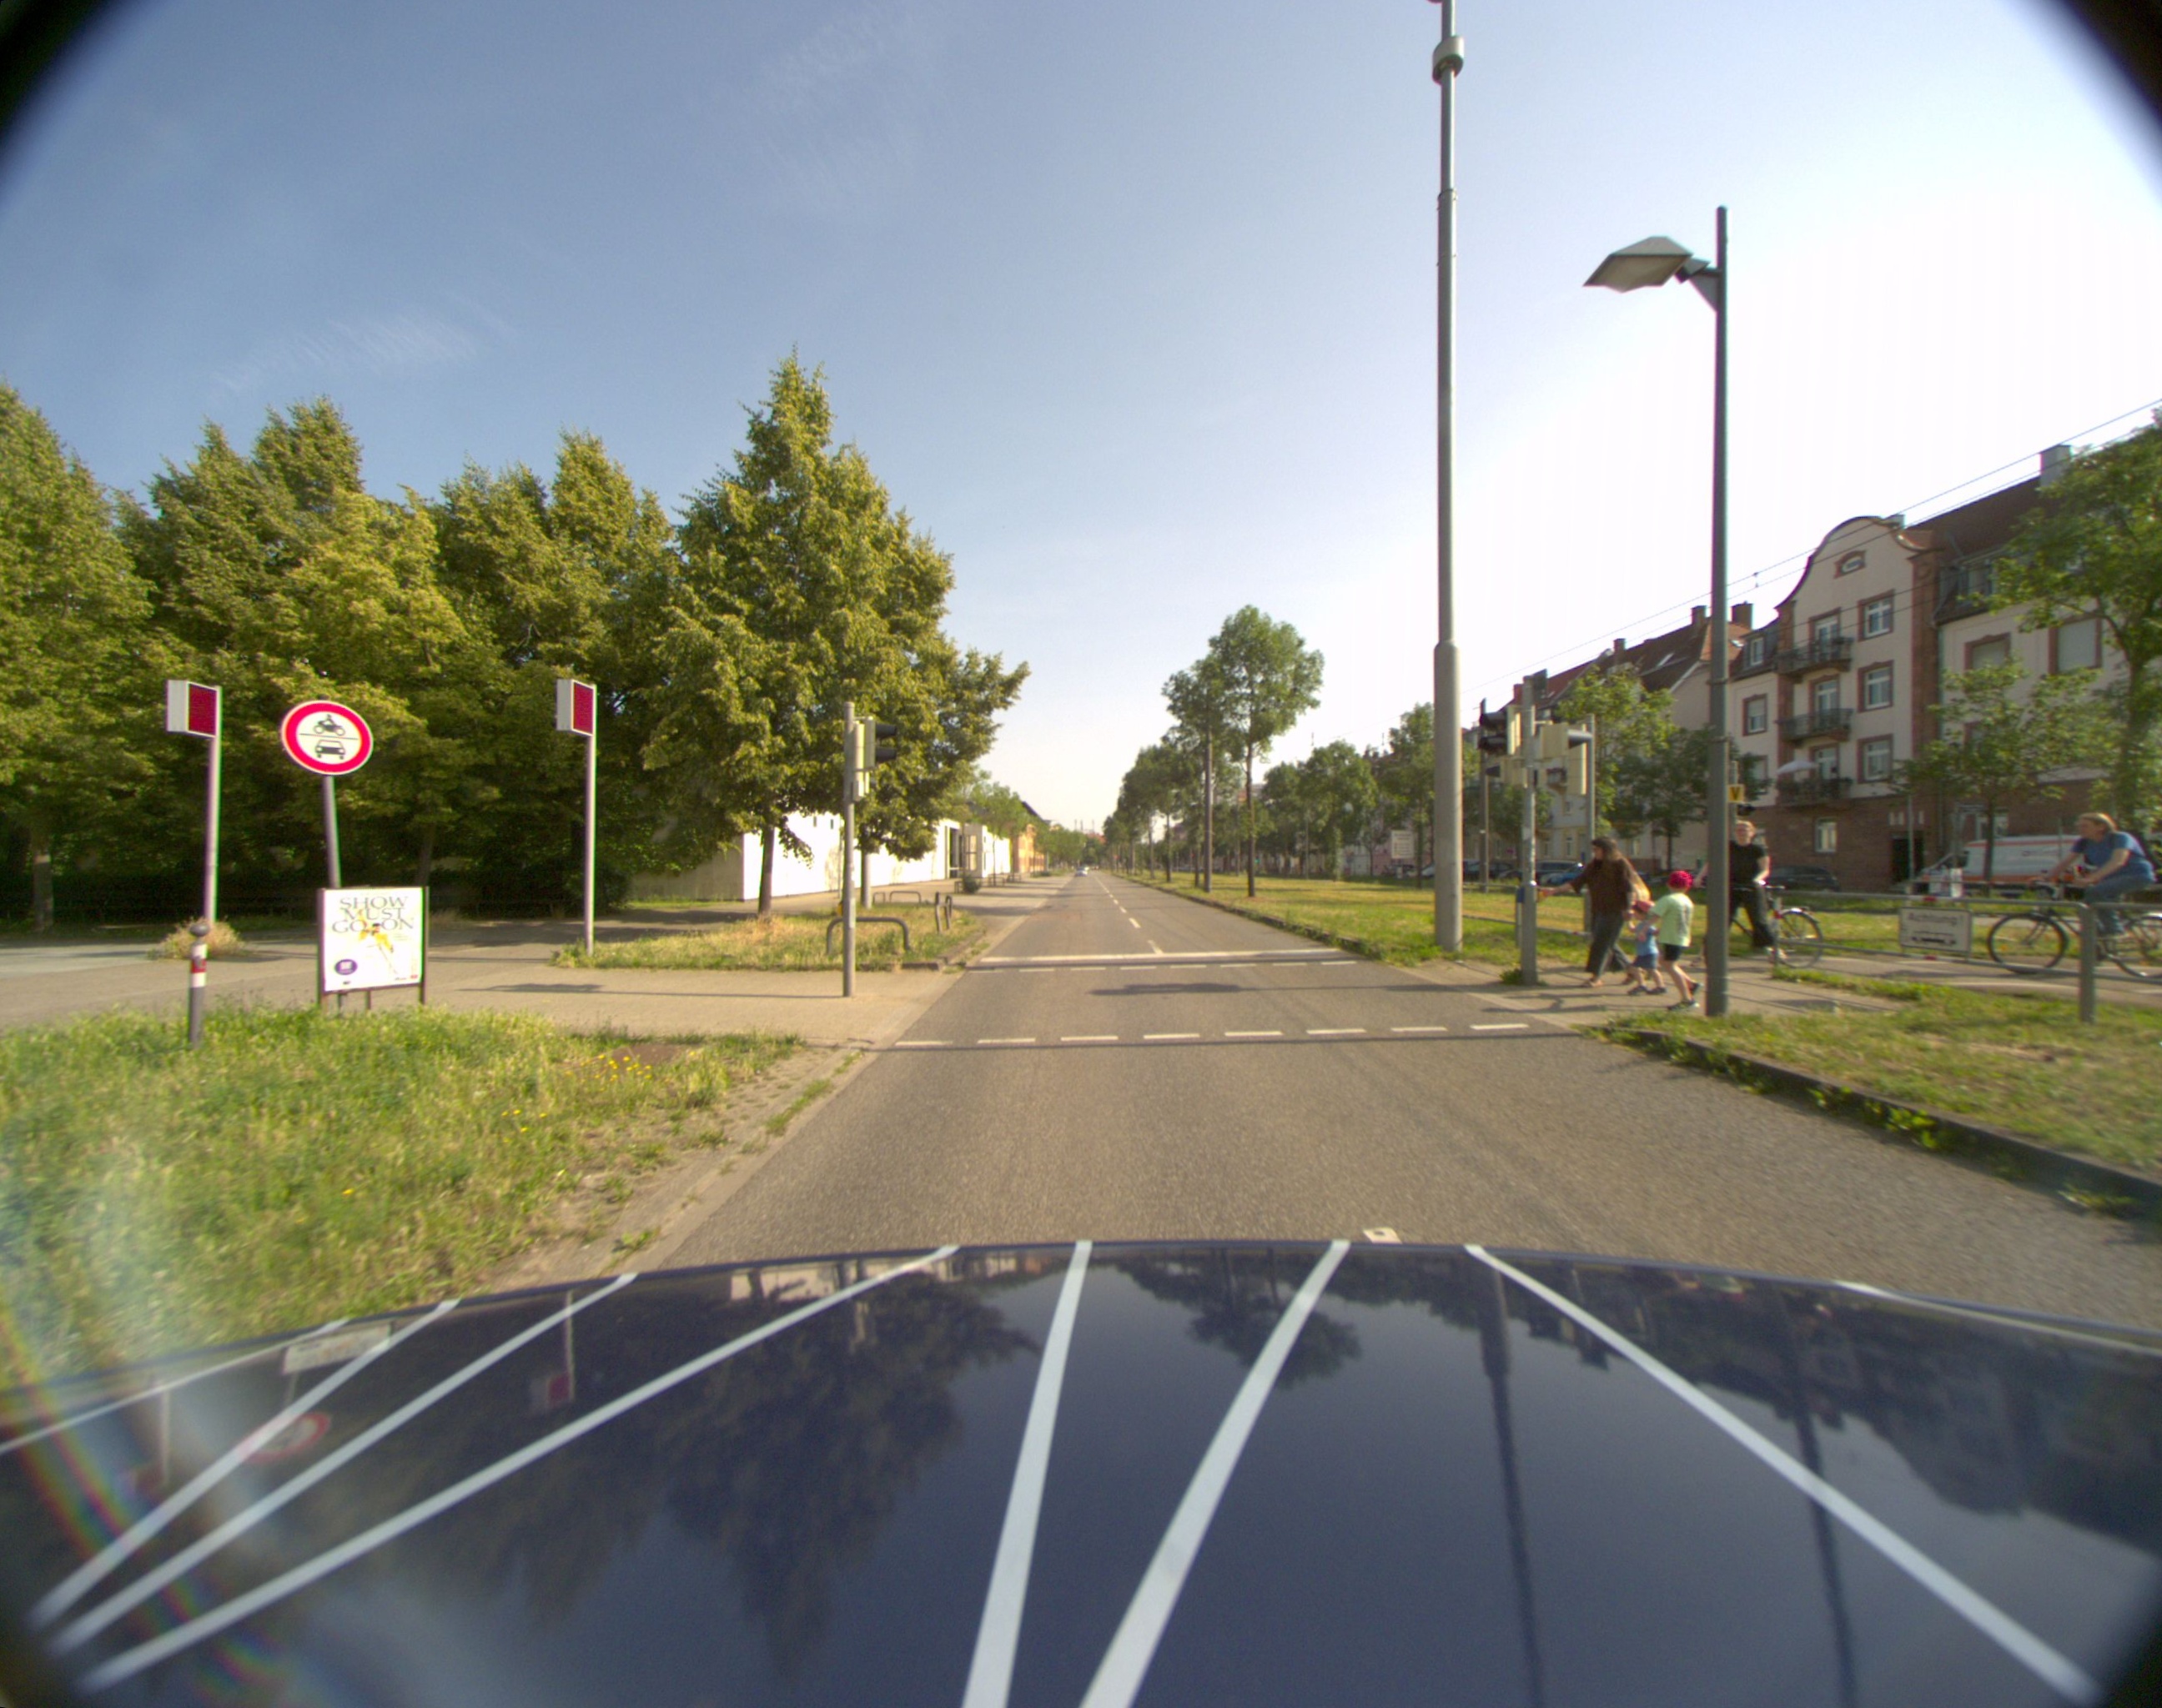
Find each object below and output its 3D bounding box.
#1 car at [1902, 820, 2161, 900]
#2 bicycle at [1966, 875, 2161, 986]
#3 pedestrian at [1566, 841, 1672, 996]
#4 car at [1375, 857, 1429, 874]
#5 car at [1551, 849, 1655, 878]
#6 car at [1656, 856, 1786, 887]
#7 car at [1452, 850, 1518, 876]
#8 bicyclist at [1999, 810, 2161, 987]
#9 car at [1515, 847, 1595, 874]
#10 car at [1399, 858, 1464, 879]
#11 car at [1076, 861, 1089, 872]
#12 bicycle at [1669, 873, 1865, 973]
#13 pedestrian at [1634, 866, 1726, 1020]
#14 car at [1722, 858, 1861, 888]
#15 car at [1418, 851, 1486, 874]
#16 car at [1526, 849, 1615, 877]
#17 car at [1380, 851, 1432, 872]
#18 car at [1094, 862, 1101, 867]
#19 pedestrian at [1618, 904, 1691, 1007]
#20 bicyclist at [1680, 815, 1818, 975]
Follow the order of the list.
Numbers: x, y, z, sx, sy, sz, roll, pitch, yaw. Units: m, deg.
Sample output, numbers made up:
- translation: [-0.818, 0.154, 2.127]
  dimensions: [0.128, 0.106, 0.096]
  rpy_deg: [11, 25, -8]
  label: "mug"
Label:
- translation: [35.059, 0.179, 28.046]
  dimensions: [2.354, 2.549, 6.507]
  rpy_deg: [-2, 0, -1]
  label: "car"
- translation: [11.202, 0.832, 8.403]
  dimensions: [1.789, 1.139, 0.577]
  rpy_deg: [-2, 1, 18]
  label: "bicycle"
- translation: [5.760, 0.663, 8.175]
  dimensions: [0.611, 1.594, 0.735]
  rpy_deg: [0, 0, -2]
  label: "pedestrian"
- translation: [30.168, 1.054, 71.412]
  dimensions: [4.490, 1.482, 2.004]
  rpy_deg: [-2, 0, 29]
  label: "car"
- translation: [28.078, 0.528, 41.075]
  dimensions: [4.503, 1.432, 2.004]
  rpy_deg: [-2, 0, 32]
  label: "car"
- translation: [29.536, 0.810, 35.262]
  dimensions: [4.332, 1.318, 2.004]
  rpy_deg: [-2, 0, 32]
  label: "car"
- translation: [28.041, 0.619, 52.754]
  dimensions: [3.989, 1.696, 1.878]
  rpy_deg: [-2, 0, 29]
  label: "car"
- translation: [11.302, 0.464, 8.382]
  dimensions: [1.185, 1.840, 0.911]
  rpy_deg: [-2, 1, 18]
  label: "bicyclist"
- translation: [28.939, 0.419, 46.538]
  dimensions: [4.053, 1.545, 1.919]
  rpy_deg: [-2, 0, 31]
  label: "car"
- translation: [27.974, 1.148, 60.645]
  dimensions: [4.490, 1.550, 2.004]
  rpy_deg: [-2, 0, 29]
  label: "car"
- translation: [0.255, 1.913, 115.426]
  dimensions: [1.998, 1.652, 4.000]
  rpy_deg: [0, 0, 0]
  label: "car"
- translation: [8.159, 0.801, 9.092]
  dimensions: [1.750, 1.139, 0.577]
  rpy_deg: [0, 0, 5]
  label: "bicycle"
- translation: [5.487, 0.784, 6.984]
  dimensions: [0.456, 1.350, 0.549]
  rpy_deg: [0, 0, 9]
  label: "pedestrian"
- translation: [28.764, 0.766, 30.937]
  dimensions: [3.840, 1.121, 1.772]
  rpy_deg: [-2, 0, 32]
  label: "car"
- translation: [28.022, 0.639, 57.395]
  dimensions: [4.490, 1.596, 2.004]
  rpy_deg: [-2, 0, 29]
  label: "car"
- translation: [28.112, 0.541, 43.733]
  dimensions: [4.182, 1.494, 1.945]
  rpy_deg: [-2, 0, 33]
  label: "car"
- translation: [28.529, 0.673, 66.673]
  dimensions: [4.138, 1.648, 2.003]
  rpy_deg: [-2, 0, 25]
  label: "car"
- translation: [5.257, 3.305, 242.542]
  dimensions: [1.998, 1.652, 4.000]
  rpy_deg: [0, 0, 0]
  label: "car"
- translation: [5.718, 1.002, 7.585]
  dimensions: [0.412, 0.975, 0.420]
  rpy_deg: [0, 0, -2]
  label: "pedestrian"
- translation: [7.972, 0.470, 9.119]
  dimensions: [0.870, 1.812, 0.908]
  rpy_deg: [0, 0, 5]
  label: "bicyclist"
